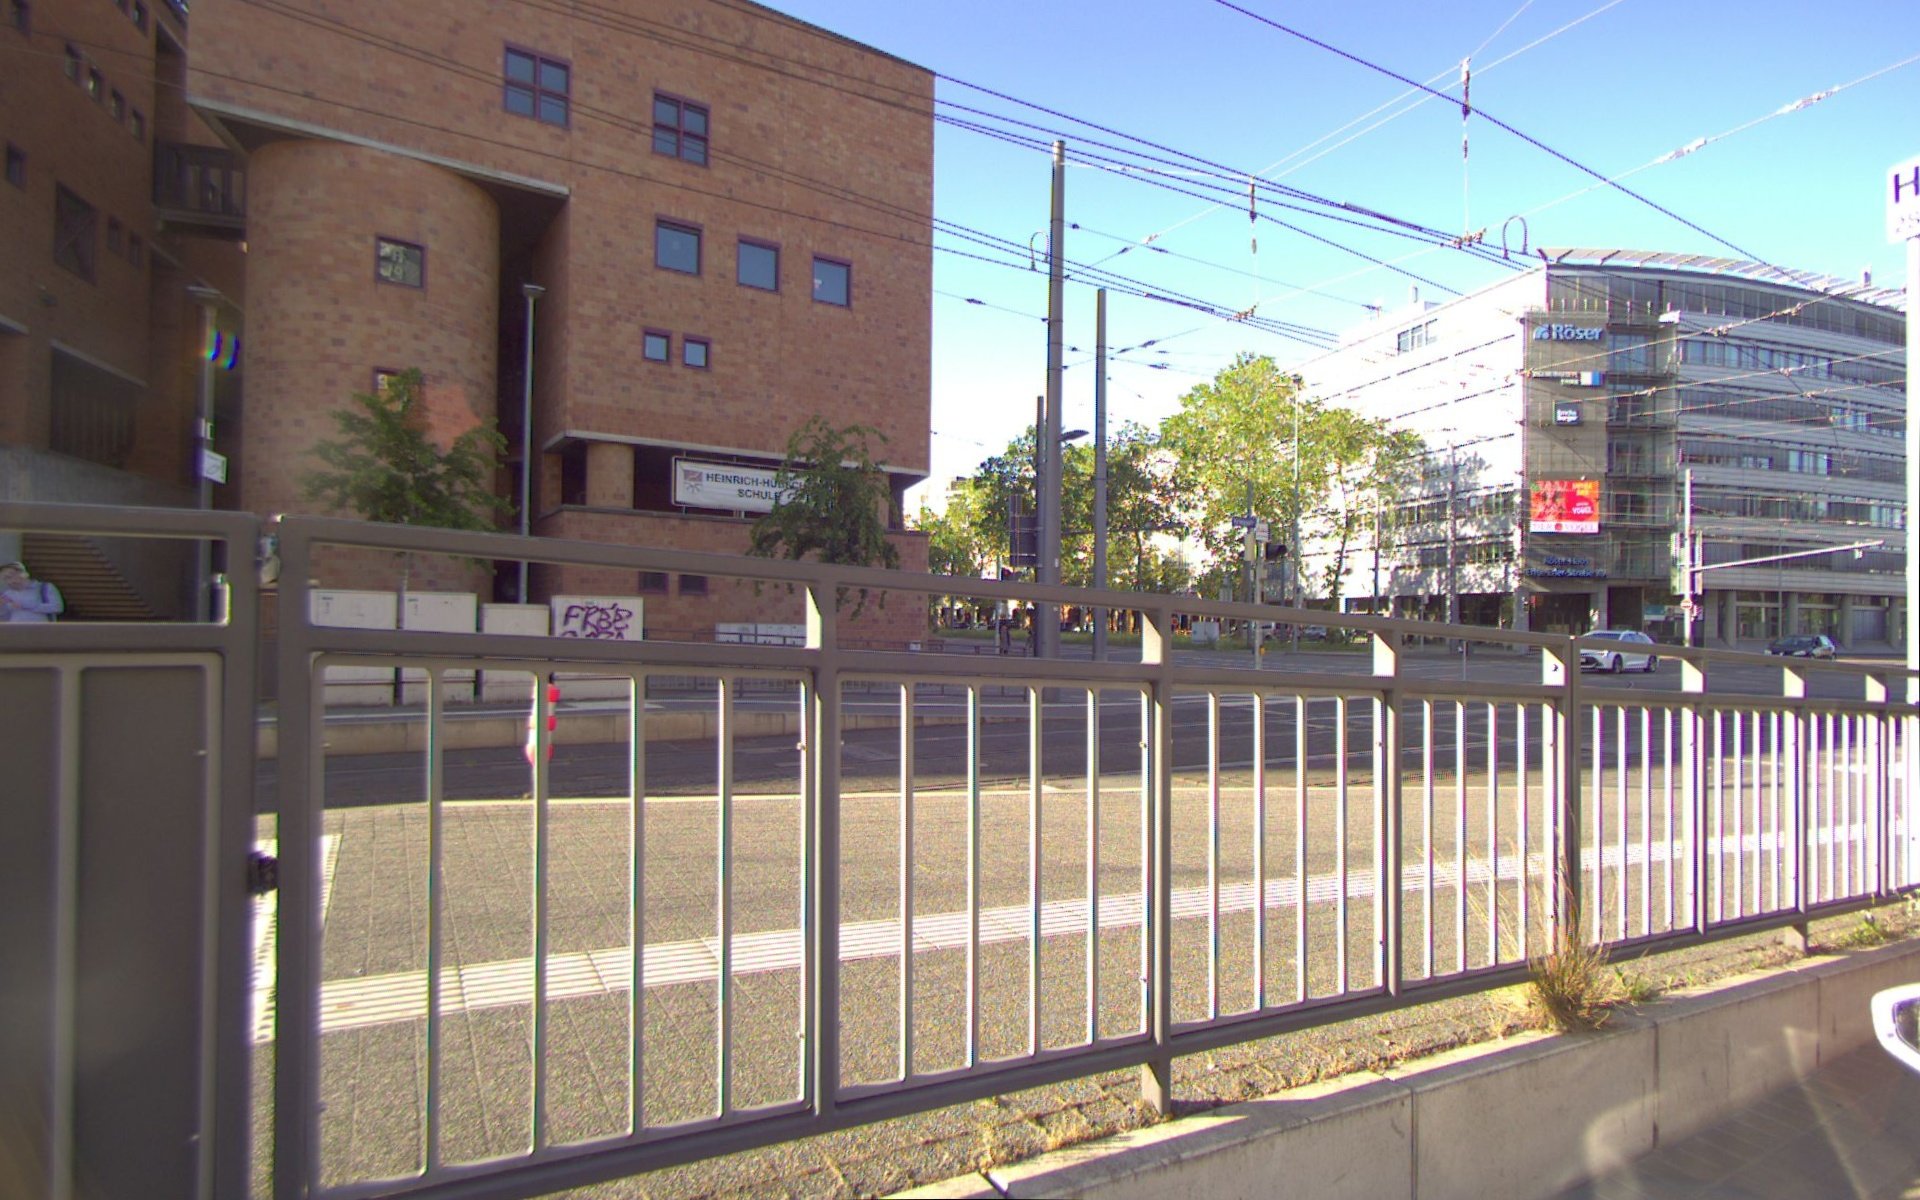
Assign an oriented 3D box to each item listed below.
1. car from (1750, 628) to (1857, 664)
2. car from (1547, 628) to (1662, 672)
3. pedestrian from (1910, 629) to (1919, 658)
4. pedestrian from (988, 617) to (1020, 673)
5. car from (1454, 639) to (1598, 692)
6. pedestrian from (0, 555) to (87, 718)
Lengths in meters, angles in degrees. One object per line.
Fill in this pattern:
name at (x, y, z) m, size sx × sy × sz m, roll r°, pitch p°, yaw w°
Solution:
car at (38.469, 2.108, 45.836) m, size 4.175 × 1.449 × 1.823 m, roll 2°, pitch 0°, yaw -19°
car at (22.659, 1.713, 35.277) m, size 4.484 × 1.449 × 1.814 m, roll 1°, pitch -1°, yaw -35°
pedestrian at (68.023, 3.087, 71.287) m, size 0.745 × 2.040 × 0.627 m, roll 2°, pitch 0°, yaw -30°
pedestrian at (1.386, 1.426, 31.916) m, size 0.785 × 1.714 × 0.587 m, roll 2°, pitch 0°, yaw -29°
car at (13.703, 1.562, 24.373) m, size 2.841 × 1.077 × 1.238 m, roll 2°, pitch 0°, yaw 40°
pedestrian at (-9.711, 0.372, 10.566) m, size 0.679 × 1.656 × 0.662 m, roll 2°, pitch 0°, yaw -34°
